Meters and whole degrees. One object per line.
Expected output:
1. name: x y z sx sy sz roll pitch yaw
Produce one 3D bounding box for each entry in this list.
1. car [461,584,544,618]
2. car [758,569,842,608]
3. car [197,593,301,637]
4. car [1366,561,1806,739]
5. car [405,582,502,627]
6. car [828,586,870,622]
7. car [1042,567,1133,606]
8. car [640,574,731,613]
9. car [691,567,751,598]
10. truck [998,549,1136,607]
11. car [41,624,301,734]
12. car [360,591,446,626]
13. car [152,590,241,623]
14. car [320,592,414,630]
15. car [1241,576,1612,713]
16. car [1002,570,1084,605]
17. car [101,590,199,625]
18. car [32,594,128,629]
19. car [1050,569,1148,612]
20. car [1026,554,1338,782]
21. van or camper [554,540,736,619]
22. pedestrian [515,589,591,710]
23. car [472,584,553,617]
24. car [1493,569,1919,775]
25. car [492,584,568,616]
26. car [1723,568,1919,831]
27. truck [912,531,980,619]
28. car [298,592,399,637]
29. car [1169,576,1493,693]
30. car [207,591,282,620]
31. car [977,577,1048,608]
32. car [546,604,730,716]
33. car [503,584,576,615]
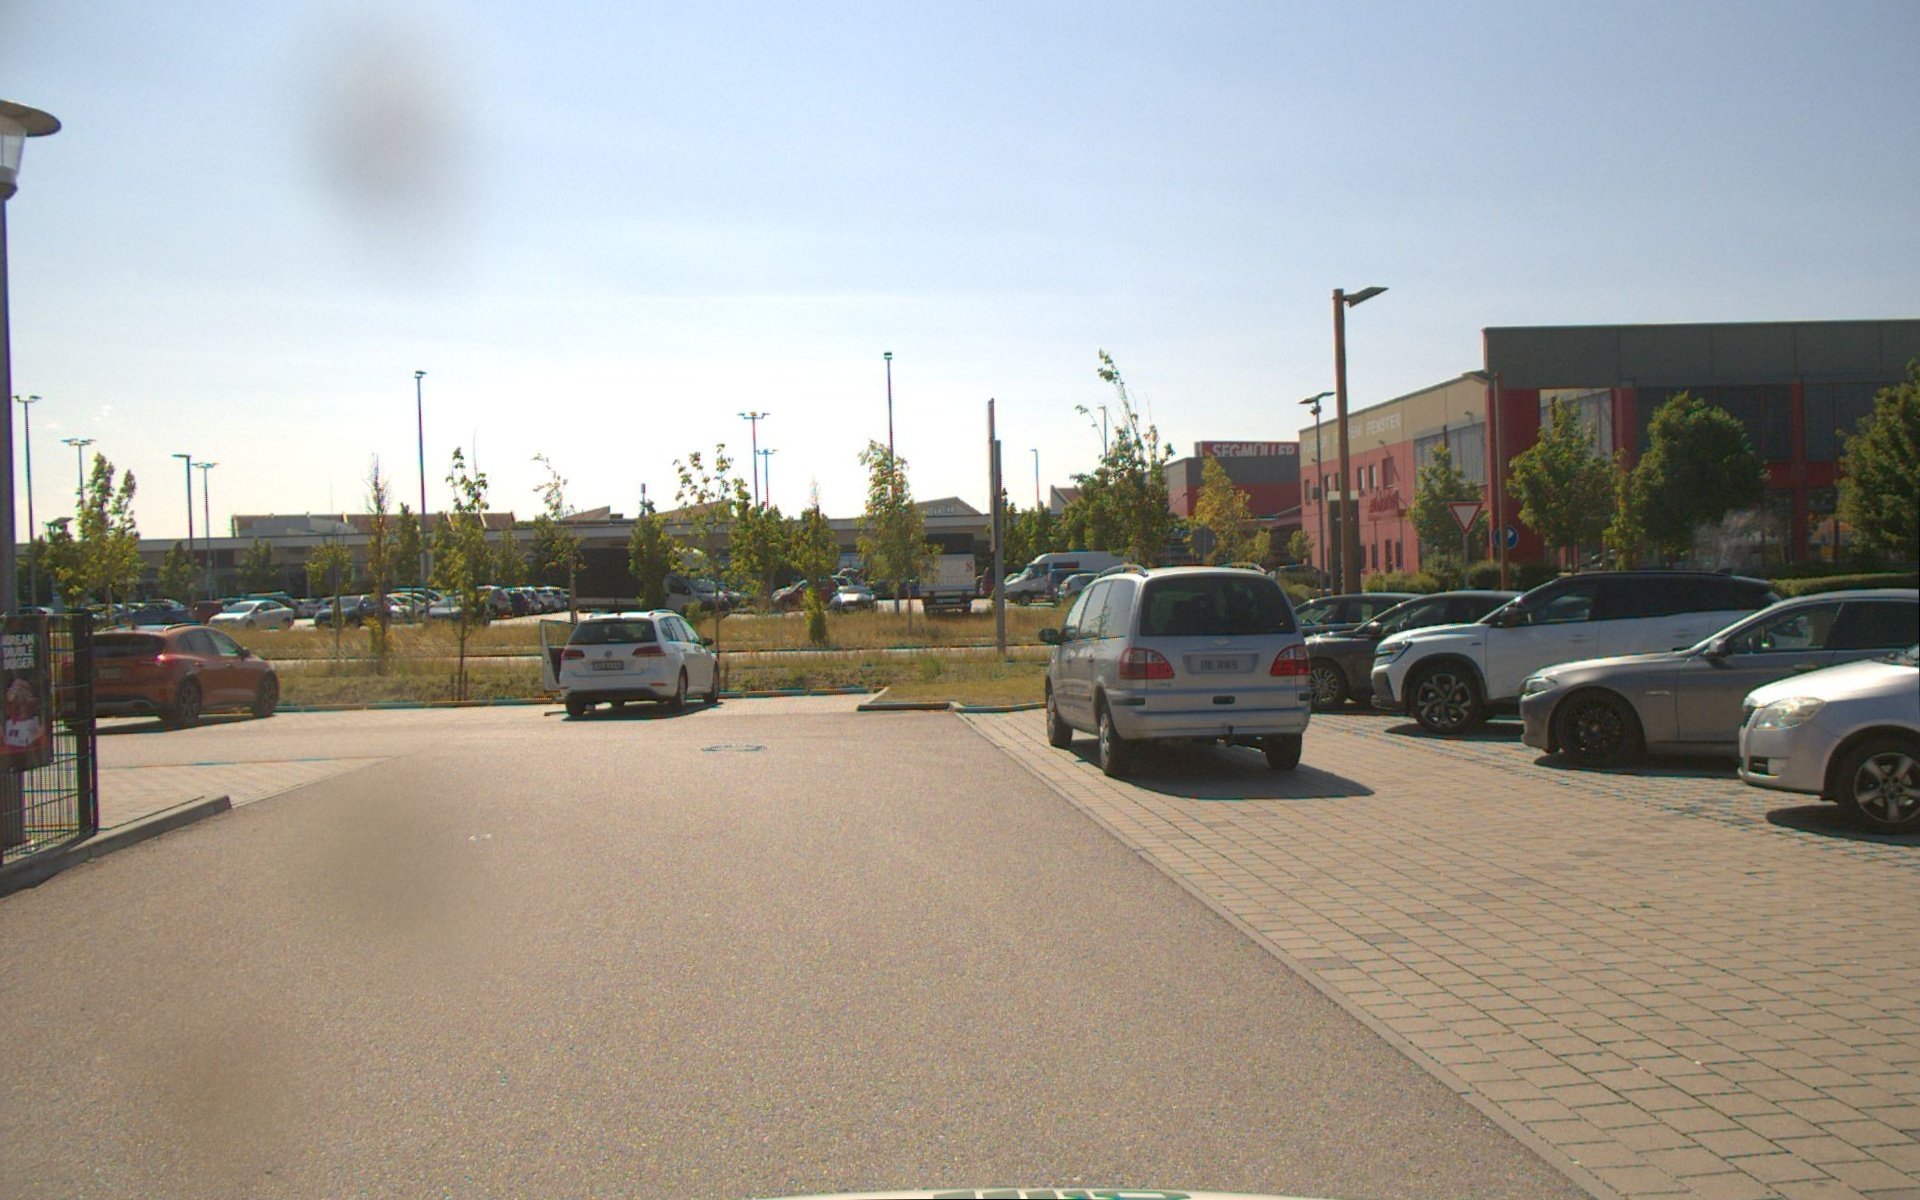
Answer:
1. car: -26.282 0.039 95.086 4.306 1.888 1.953 -1 0 -7
2. car: -8.098 -0.601 83.771 4.172 1.888 1.867 -1 0 -7
3. car: -31.936 0.660 74.421 1.951 1.888 4.289 -1 0 17
4. car: 6.564 0.490 17.454 4.110 1.683 1.974 -1 0 25
5. car: -22.063 0.185 72.222 1.908 1.888 4.407 -1 0 17
6. car: -4.749 0.157 71.270 1.616 1.485 3.965 -1 0 -1
7. car: 6.422 -0.666 83.442 4.306 1.888 1.953 -1 0 -7
8. car: -15.151 -0.364 91.287 4.827 2.049 2.077 -1 0 -11
9. car: -16.324 -1.188 113.065 3.908 2.049 1.999 -1 0 -4
10. truck: 5.563 -1.118 86.019 6.900 2.863 1.953 -1 0 -7
11. car: -12.049 1.150 25.609 1.789 1.495 4.354 -2 -1 2
12. car: -32.032 0.489 95.203 4.306 1.888 1.953 -1 0 -7
13. car: -46.630 0.371 101.104 4.471 1.888 1.953 -1 0 -7
14. car: -31.217 0.551 87.192 4.306 1.888 1.953 -1 0 -7
15. car: 5.846 0.523 20.811 4.116 1.553 1.971 -1 0 31
16. car: 4.639 -0.694 92.935 4.306 1.888 1.953 -1 0 -7
17. car: -45.609 0.404 93.204 4.471 1.888 1.953 -1 0 -7
18. car: -54.780 0.705 103.055 4.827 2.049 2.077 -1 0 -11
19. car: 6.568 -0.452 78.253 4.306 1.888 1.953 -1 0 -7
20. car: 1.896 0.537 15.667 1.792 1.779 4.676 -2 0 -7
21. van or camper: -13.569 -0.840 71.049 7.873 3.156 2.416 -1 0 27
22. pedestrian: -6.342 0.764 25.831 0.971 1.841 0.726 -2 -1 -1
23. car: -26.321 0.024 97.445 4.306 1.888 1.953 -1 0 -7
24. car: 7.091 0.540 13.728 4.743 1.553 1.971 -1 0 32
25. car: -26.848 -0.005 103.383 4.306 1.888 1.953 -1 0 -7
26. car: 7.017 0.558 10.215 4.109 1.553 1.975 -1 0 24
27. truck: -0.621 -1.041 70.873 2.703 3.541 6.831 -1 0 -1
28. car: -27.079 0.611 73.441 1.908 1.888 4.407 -1 0 17
29. car: 5.434 0.482 24.476 4.249 1.552 1.967 -1 1 38
30. car: -49.006 0.335 113.371 4.306 1.888 1.953 -1 0 -7
31. car: 3.324 -0.470 105.439 4.306 1.888 1.953 -1 0 -7
32. car: -4.786 0.868 25.222 1.789 1.495 4.482 -2 -1 1
33. car: -27.043 -0.021 106.480 4.306 1.888 1.953 -1 0 -7
